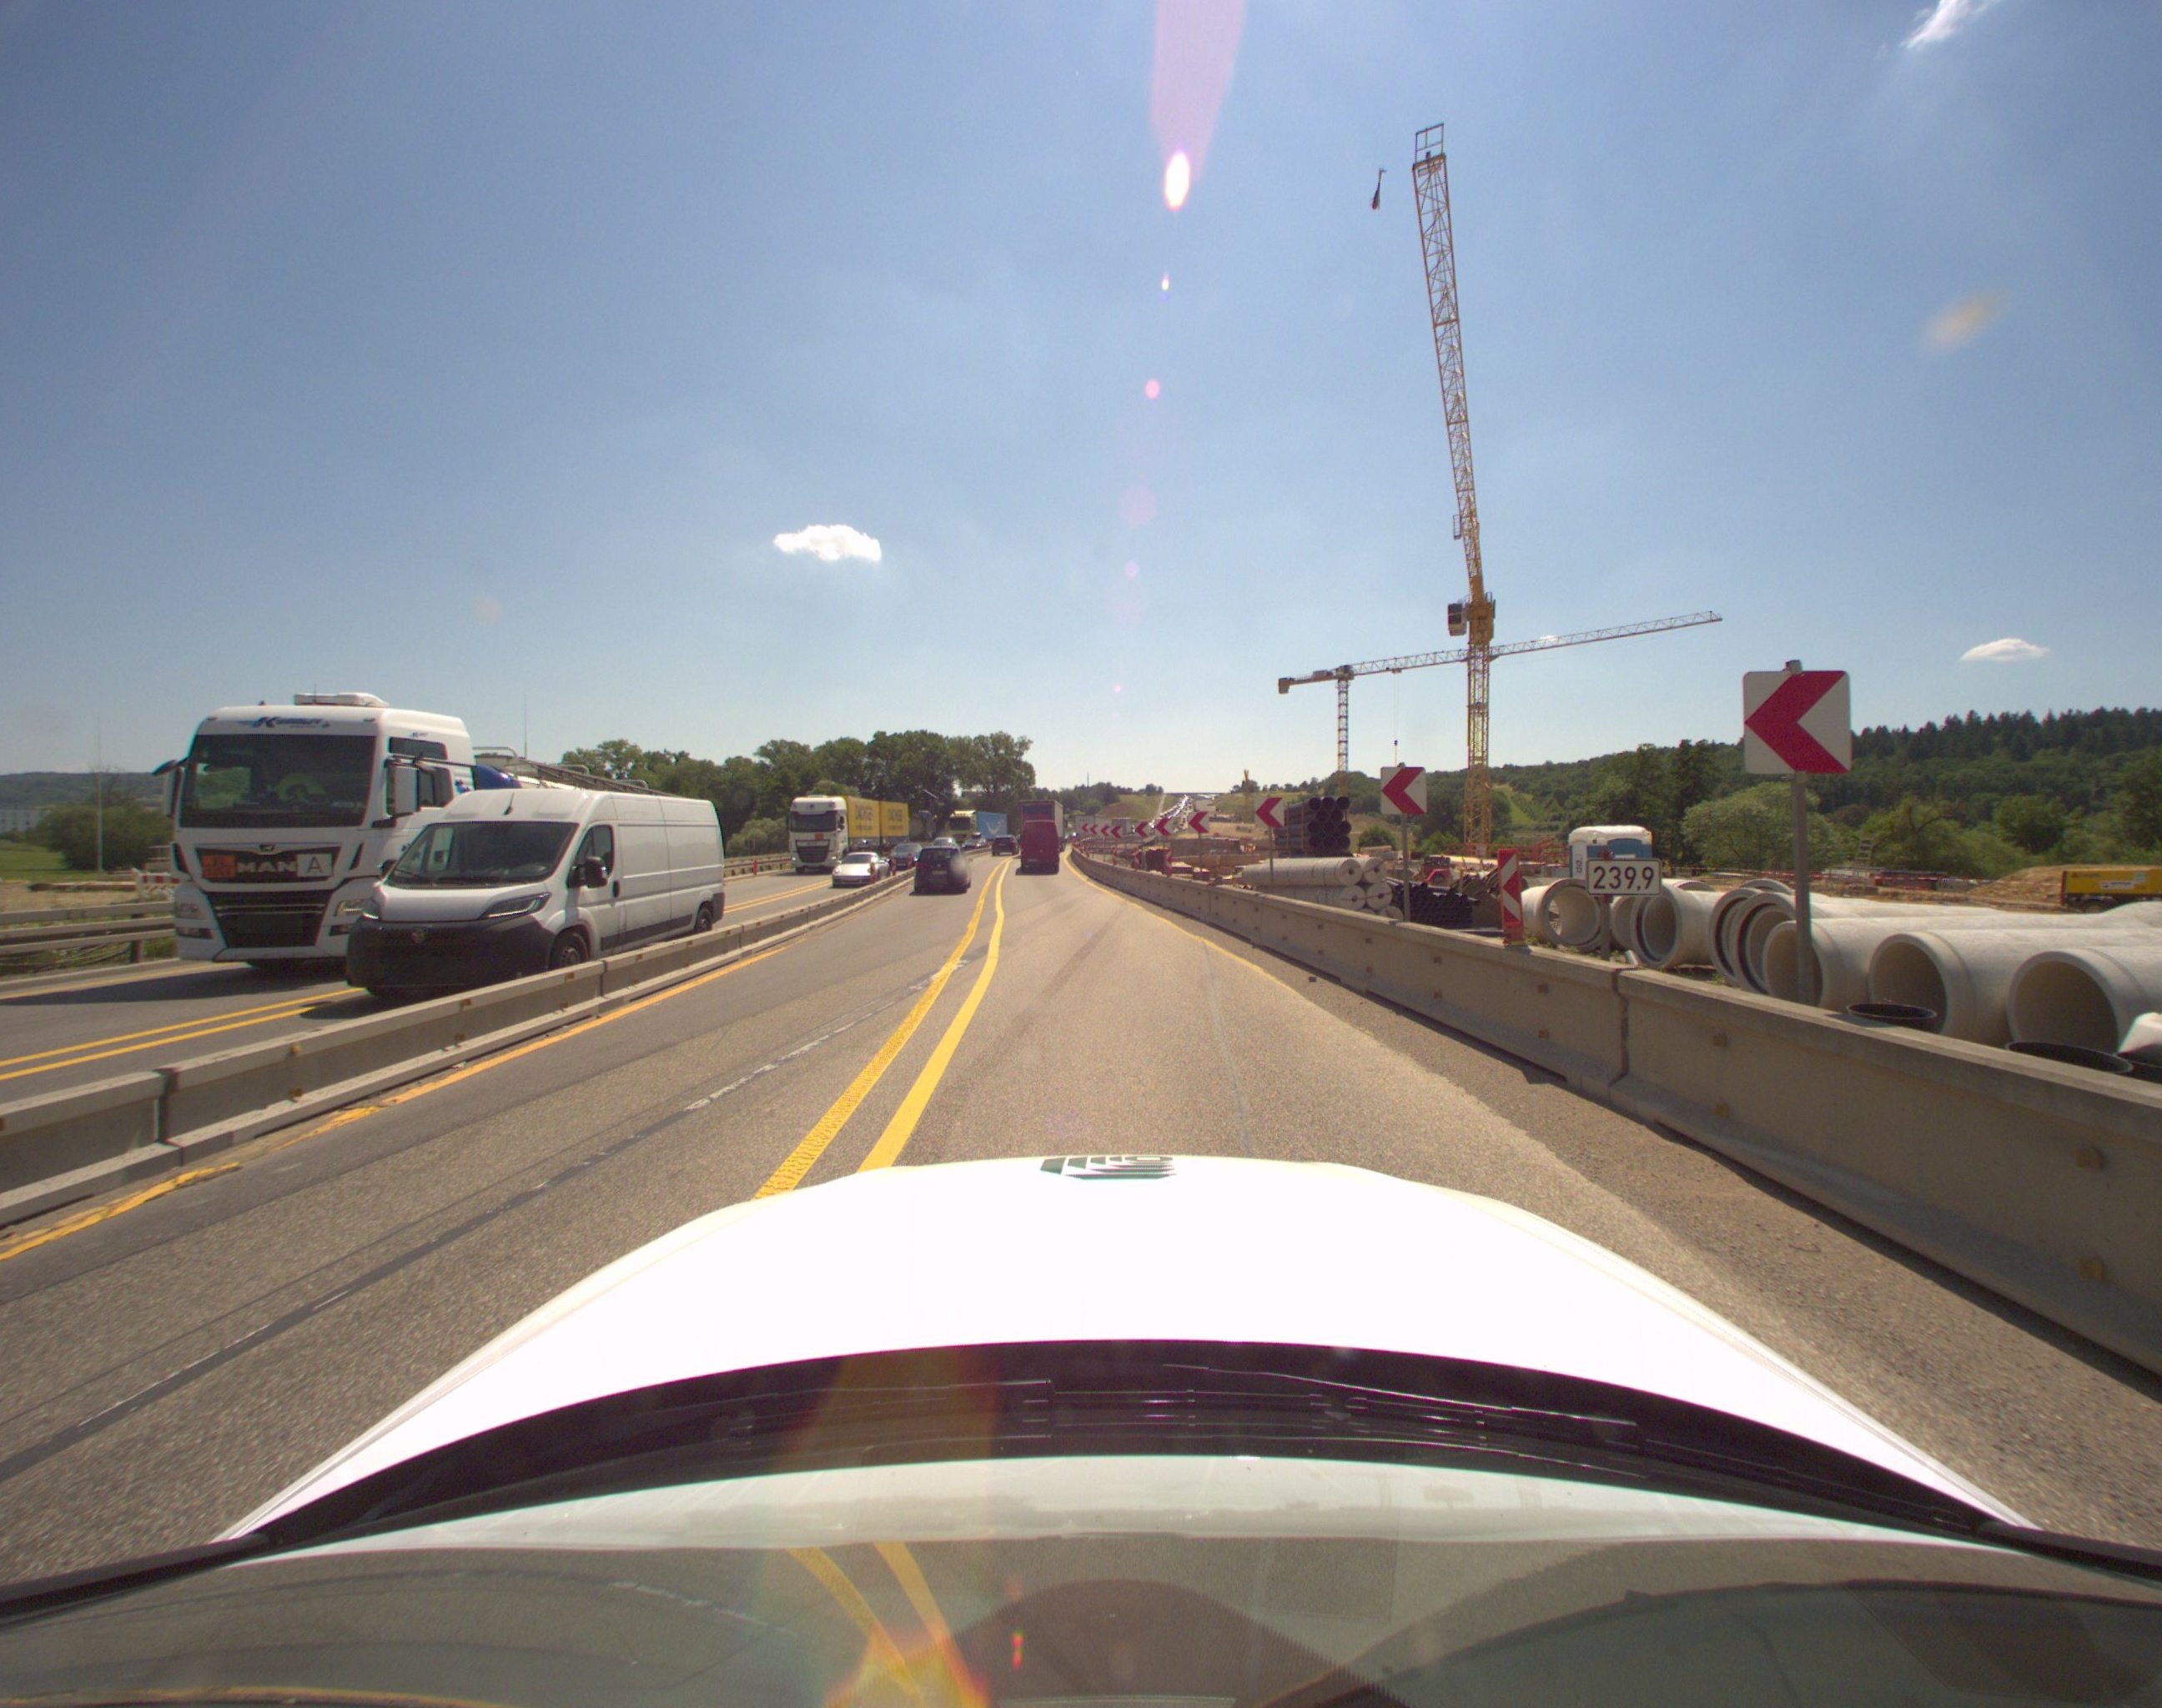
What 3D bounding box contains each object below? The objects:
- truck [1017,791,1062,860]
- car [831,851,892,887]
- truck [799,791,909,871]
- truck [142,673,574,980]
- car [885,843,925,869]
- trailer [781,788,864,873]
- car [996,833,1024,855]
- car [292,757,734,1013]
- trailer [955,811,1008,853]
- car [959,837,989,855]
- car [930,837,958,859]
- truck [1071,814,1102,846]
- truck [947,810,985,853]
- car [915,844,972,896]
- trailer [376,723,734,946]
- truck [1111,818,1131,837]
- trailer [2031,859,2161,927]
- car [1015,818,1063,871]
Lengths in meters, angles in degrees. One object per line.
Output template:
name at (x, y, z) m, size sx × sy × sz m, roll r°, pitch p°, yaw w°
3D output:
truck at (-3.098, -2.153, 62.348) m, size 2.934 × 4.945 × 6.743 m, roll -1°, pitch 1°, yaw 1°
car at (-8.722, 0.565, 32.711) m, size 1.674 × 1.264 × 4.328 m, roll 0°, pitch 1°, yaw -6°
truck at (-13.868, -1.357, 51.655) m, size 2.798 × 4.342 × 15.370 m, roll 0°, pitch 1°, yaw -1°
truck at (-10.615, -0.333, 12.738) m, size 2.530 × 3.821 × 4.941 m, roll 1°, pitch 0°, yaw -5°
car at (-9.791, 0.064, 45.591) m, size 1.674 × 1.362 × 4.494 m, roll 0°, pitch 1°, yaw -6°
trailer at (-13.641, -1.227, 43.351) m, size 2.859 × 4.229 × 5.214 m, roll -1°, pitch 0°, yaw -2°
car at (-5.642, -0.791, 65.022) m, size 1.828 × 1.635 × 4.388 m, roll -1°, pitch 0°, yaw 0°
car at (-6.980, 0.337, 11.308) m, size 2.068 × 2.503 × 6.471 m, roll 0°, pitch -1°, yaw -5°
trailer at (-10.809, -2.325, 89.891) m, size 2.634 × 4.292 × 13.335 m, roll 1°, pitch 1°, yaw 7°
car at (-9.413, -0.749, 71.964) m, size 1.813 × 1.435 × 4.587 m, roll 0°, pitch 2°, yaw 2°
car at (-10.102, -0.452, 60.271) m, size 1.633 × 1.485 × 3.996 m, roll 0°, pitch 2°, yaw -4°
truck at (0.801, -3.056, 104.552) m, size 3.164 × 3.989 × 6.756 m, roll 0°, pitch 1°, yaw 7°
truck at (-11.642, -2.241, 82.671) m, size 2.611 × 4.270 × 4.741 m, roll 1°, pitch 1°, yaw 7°
car at (-4.856, 0.498, 29.165) m, size 1.732 × 1.635 × 4.380 m, roll 0°, pitch 1°, yaw -6°
trailer at (-11.170, -0.318, 19.093) m, size 2.522 × 3.789 × 10.226 m, roll 1°, pitch 0°, yaw -5°
truck at (7.619, -5.051, 154.608) m, size 3.166 × 2.977 × 8.915 m, roll -1°, pitch -2°, yaw 7°
trailer at (24.546, 0.875, 18.512) m, size 1.616 × 1.486 × 3.831 m, roll 1°, pitch 0°, yaw 4°
car at (-2.281, -0.481, 42.800) m, size 2.148 × 2.611 × 5.424 m, roll 0°, pitch 0°, yaw -7°
